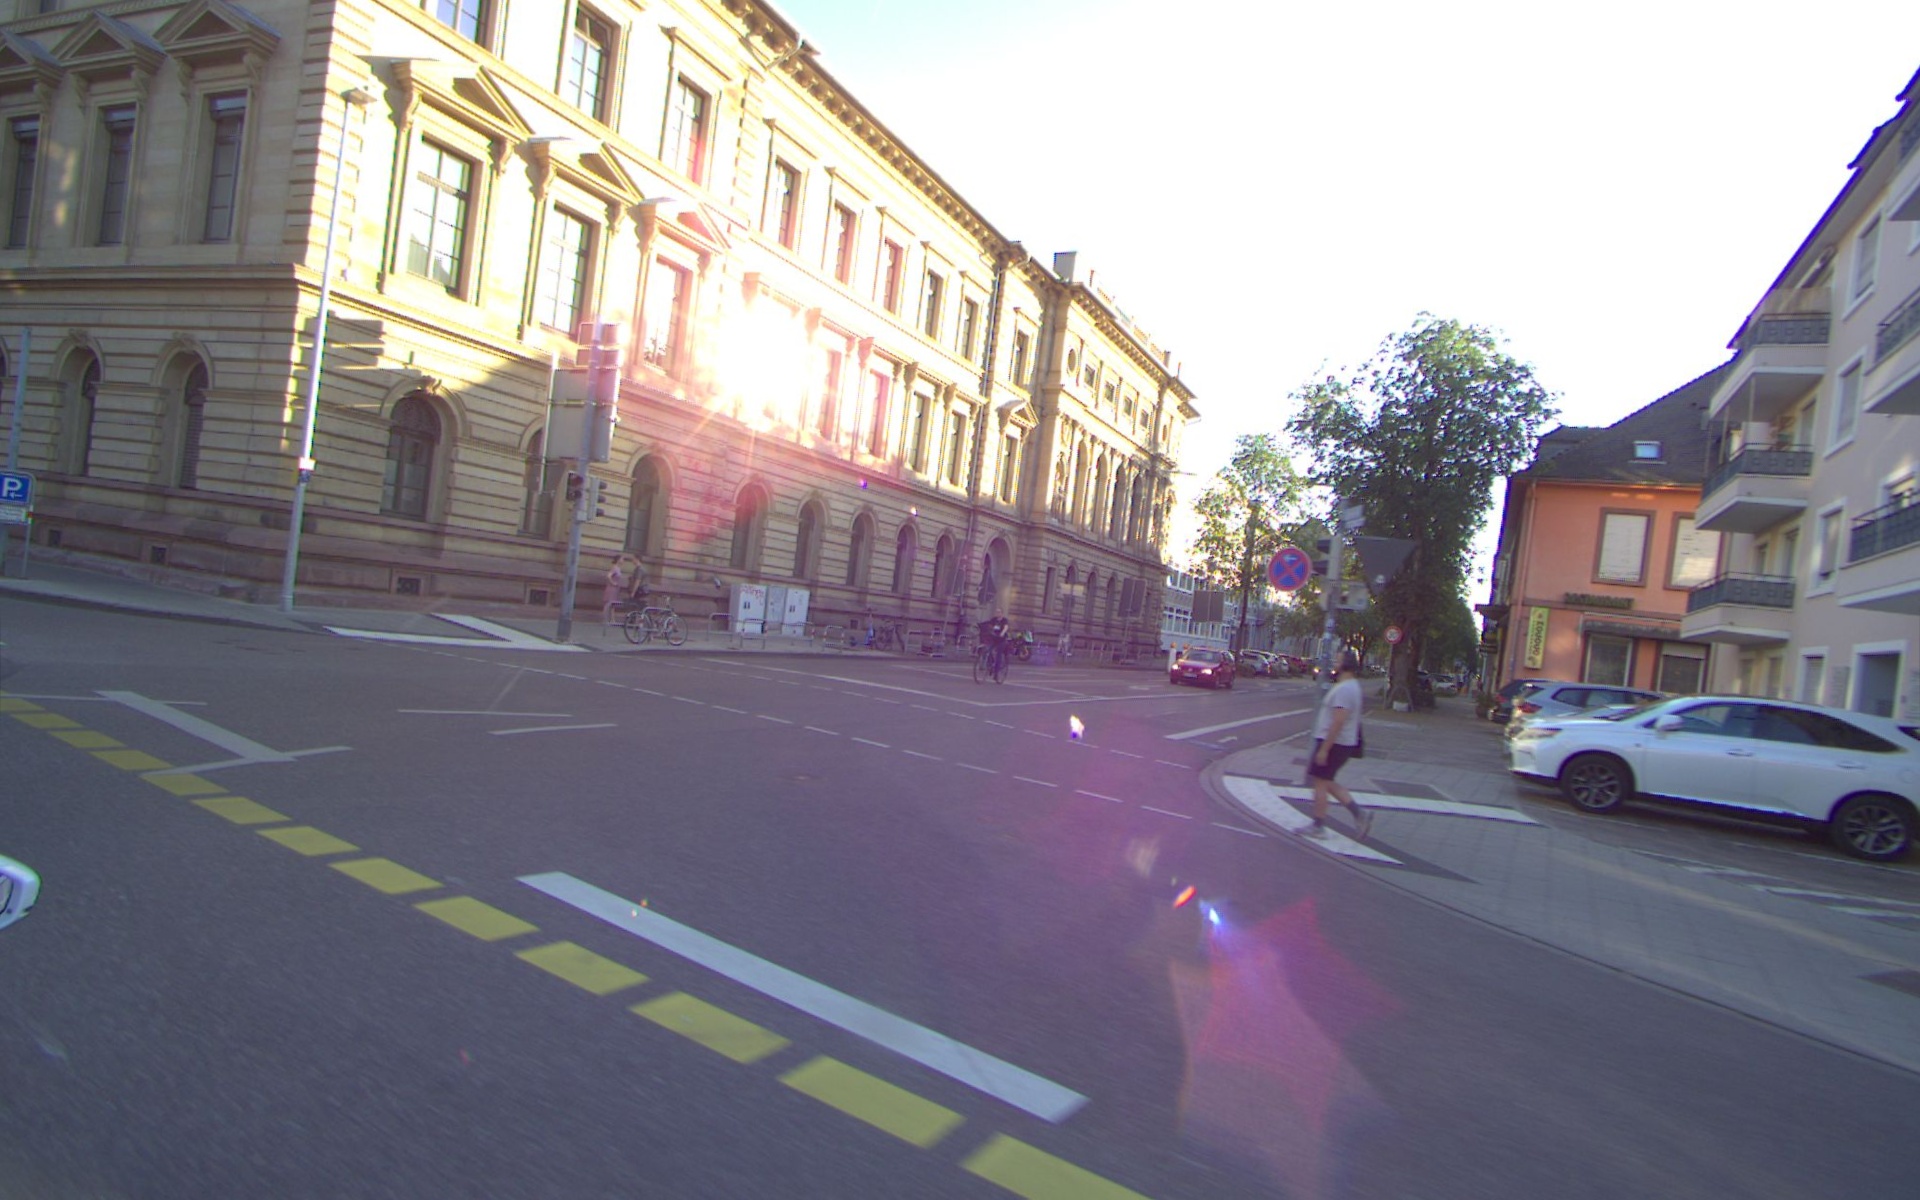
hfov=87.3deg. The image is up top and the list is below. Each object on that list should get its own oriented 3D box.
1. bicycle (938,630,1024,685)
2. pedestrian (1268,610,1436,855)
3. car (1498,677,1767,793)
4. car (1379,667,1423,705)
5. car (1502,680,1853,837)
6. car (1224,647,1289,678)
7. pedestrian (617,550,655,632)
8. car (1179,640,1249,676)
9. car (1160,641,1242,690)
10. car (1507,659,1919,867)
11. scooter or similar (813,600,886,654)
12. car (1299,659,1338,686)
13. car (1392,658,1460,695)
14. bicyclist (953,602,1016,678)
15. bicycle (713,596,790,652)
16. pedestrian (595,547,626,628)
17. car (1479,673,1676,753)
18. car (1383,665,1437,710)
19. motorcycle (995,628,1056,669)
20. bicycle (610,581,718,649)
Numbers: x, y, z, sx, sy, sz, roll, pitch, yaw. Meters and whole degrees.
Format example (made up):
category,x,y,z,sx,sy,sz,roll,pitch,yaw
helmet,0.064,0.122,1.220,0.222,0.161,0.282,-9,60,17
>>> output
category,x,y,z,sx,sy,sz,roll,pitch,yaw
bicycle,0.530,1.370,23.779,0.959,1.118,2.582,7,-1,25
pedestrian,3.596,1.182,9.254,0.782,2.038,0.982,7,1,-43
car,12.643,2.484,19.289,3.986,1.565,2.009,5,-1,28
car,24.841,4.817,56.565,1.964,1.815,3.906,7,0,26
car,10.543,2.264,15.227,3.959,1.532,1.923,7,0,28
car,21.549,4.543,73.072,4.092,1.704,1.997,7,0,28
pedestrian,-7.746,-0.212,24.045,0.530,1.881,0.616,6,1,-33
car,15.683,3.586,62.034,3.659,1.727,1.882,7,0,30
car,9.020,2.419,37.399,1.977,1.529,4.012,5,-1,27
car,9.616,1.946,12.878,4.398,1.771,1.997,7,0,28
scooter or similar,-3.328,0.808,30.239,1.879,1.343,0.922,7,0,32
car,25.319,5.142,71.053,1.977,1.641,4.014,5,-1,27
car,33.465,5.497,72.266,3.936,2.038,1.995,7,0,34
bicyclist,0.580,0.944,23.735,0.952,1.652,1.045,7,0,26
bicycle,-4.948,0.591,23.953,0.684,1.158,1.726,10,1,30
pedestrian,-8.278,-0.293,23.823,0.420,1.881,0.449,7,1,-10
car,17.110,3.100,28.163,4.444,1.615,2.009,5,-1,28
car,21.733,4.172,48.497,1.965,1.815,3.905,7,0,27
motorcycle,2.455,1.810,38.048,0.877,1.218,2.289,7,1,-38
bicycle,-6.307,0.350,21.550,0.847,1.222,2.054,10,1,30
